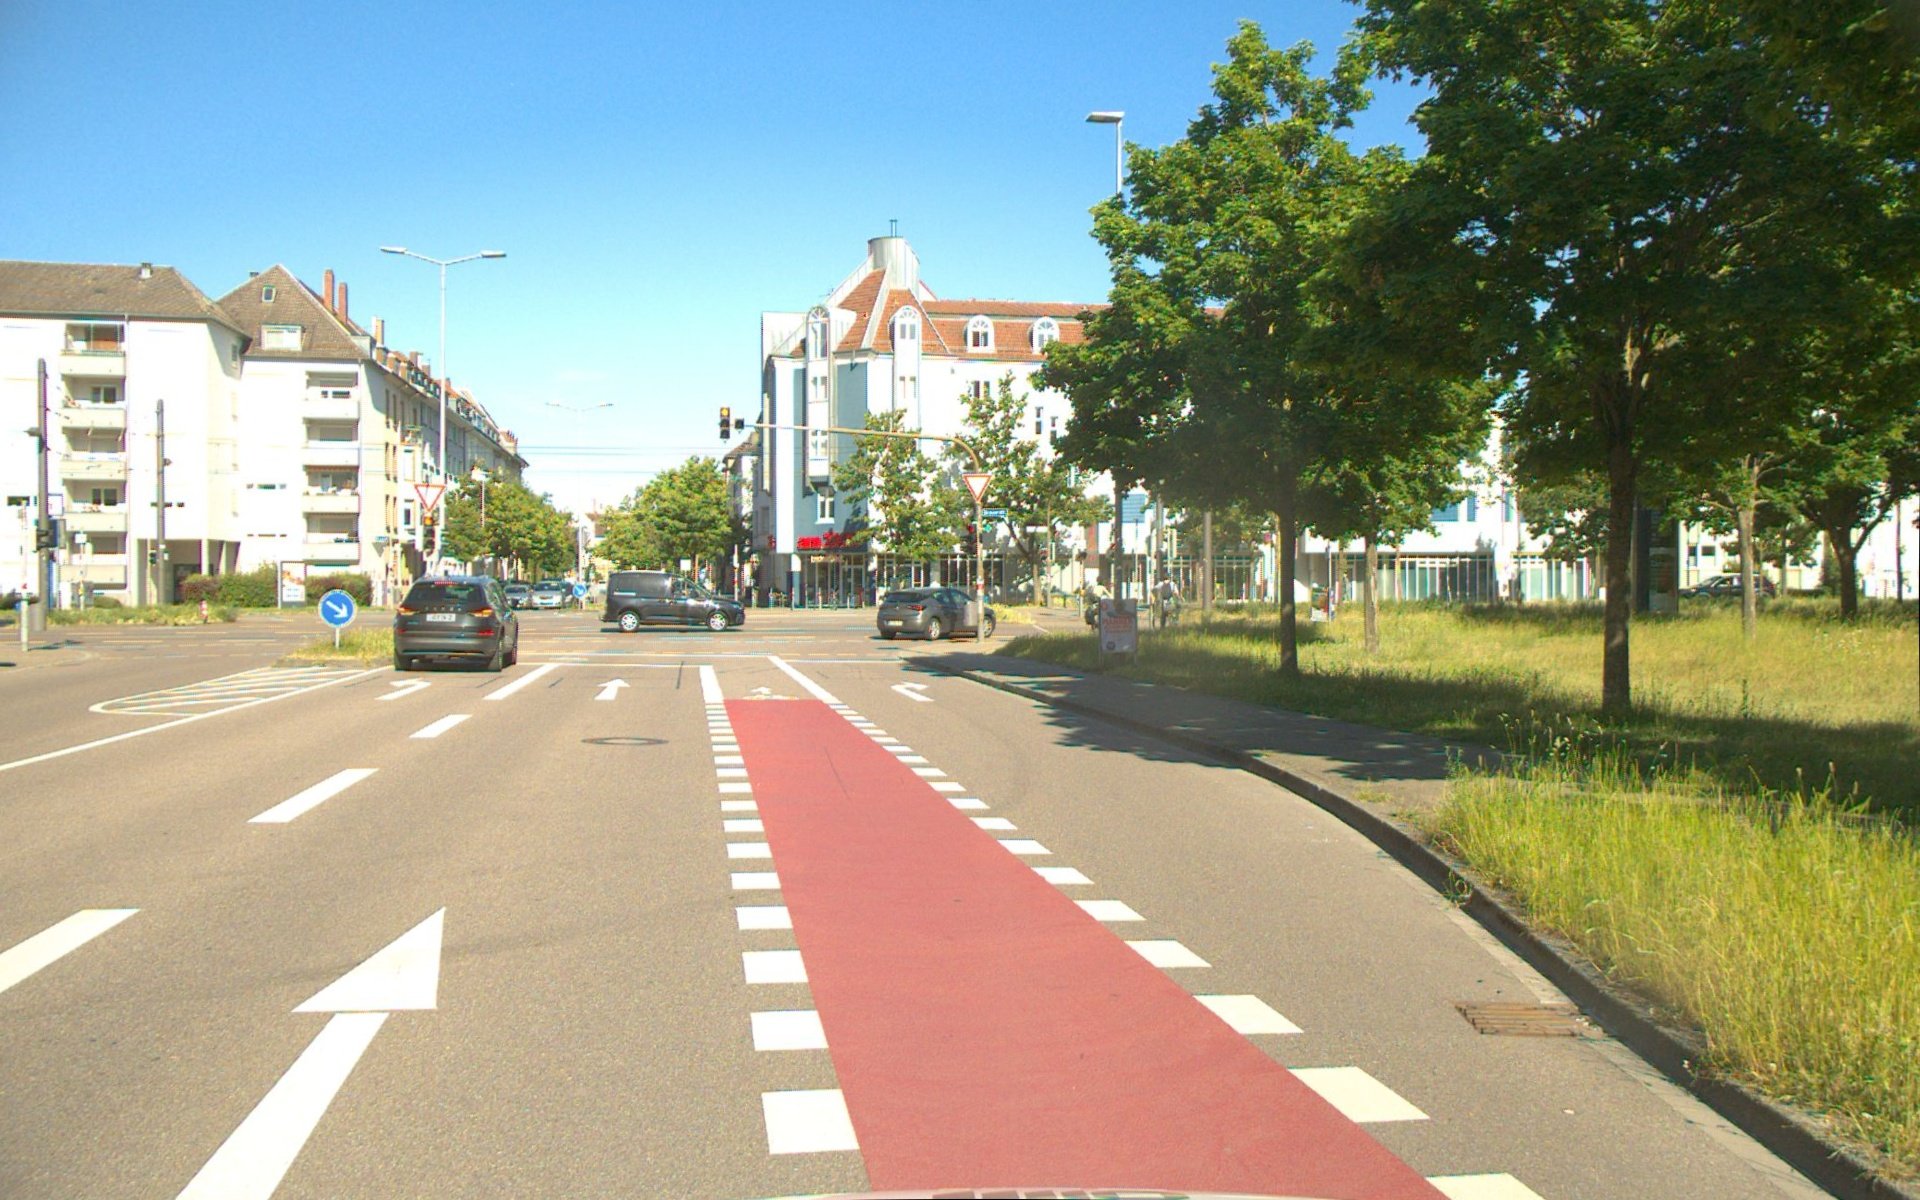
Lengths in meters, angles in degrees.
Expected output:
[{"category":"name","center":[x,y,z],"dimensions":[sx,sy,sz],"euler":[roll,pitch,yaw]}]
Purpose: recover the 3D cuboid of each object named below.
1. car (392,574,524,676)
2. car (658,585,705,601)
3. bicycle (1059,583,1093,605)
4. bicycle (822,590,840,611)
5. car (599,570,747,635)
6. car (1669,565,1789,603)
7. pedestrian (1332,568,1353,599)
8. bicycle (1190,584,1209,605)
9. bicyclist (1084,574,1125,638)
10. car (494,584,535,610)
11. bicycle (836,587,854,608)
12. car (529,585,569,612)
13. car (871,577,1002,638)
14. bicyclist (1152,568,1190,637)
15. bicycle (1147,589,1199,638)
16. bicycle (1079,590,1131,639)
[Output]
[{"category":"car","center":[-9.068,0.420,30.182],"dimensions":[1.722,1.656,4.467],"euler":[2,0,-10]},{"category":"car","center":[-22.481,-0.531,133.472],"dimensions":[3.514,1.245,1.721],"euler":[0,-1,-20]},{"category":"bicycle","center":[6.411,-0.349,91.525],"dimensions":[1.832,1.203,0.560],"euler":[-1,0,-15]},{"category":"bicycle","center":[-6.451,0.009,82.652],"dimensions":[0.465,1.045,1.507],"euler":[-1,1,-21]},{"category":"car","center":[-8.964,0.073,51.532],"dimensions":[4.405,1.832,1.758],"euler":[2,0,-14]},{"category":"car","center":[34.337,-0.716,73.925],"dimensions":[4.409,1.637,2.000],"euler":[-1,0,-1]},{"category":"pedestrian","center":[21.720,-0.937,93.844],"dimensions":[0.972,1.753,0.652],"euler":[-1,0,-11]},{"category":"bicycle","center":[13.568,-0.324,93.908],"dimensions":[0.550,1.203,1.866],"euler":[-1,1,-8]},{"category":"bicyclist","center":[4.204,0.165,48.031],"dimensions":[0.775,1.856,1.134],"euler":[-1,0,28]},{"category":"car","center":[-26.226,-0.167,97.464],"dimensions":[1.656,1.457,4.392],"euler":[2,0,-7]},{"category":"bicycle","center":[-5.793,-0.134,83.299],"dimensions":[0.465,1.045,1.506],"euler":[-1,1,-22]},{"category":"car","center":[-23.444,-0.088,94.508],"dimensions":[1.656,1.457,4.392],"euler":[2,0,-7]},{"category":"car","center":[-0.628,0.235,47.312],"dimensions":[1.661,1.605,3.853],"euler":[2,0,39]},{"category":"bicyclist","center":[6.132,0.062,48.086],"dimensions":[0.775,1.993,1.010],"euler":[-1,0,28]},{"category":"bicycle","center":[6.226,0.371,48.263],"dimensions":[0.775,1.371,2.260],"euler":[-1,0,27]},{"category":"bicycle","center":[4.228,0.409,48.074],"dimensions":[0.775,1.371,2.076],"euler":[-1,0,27]}]
